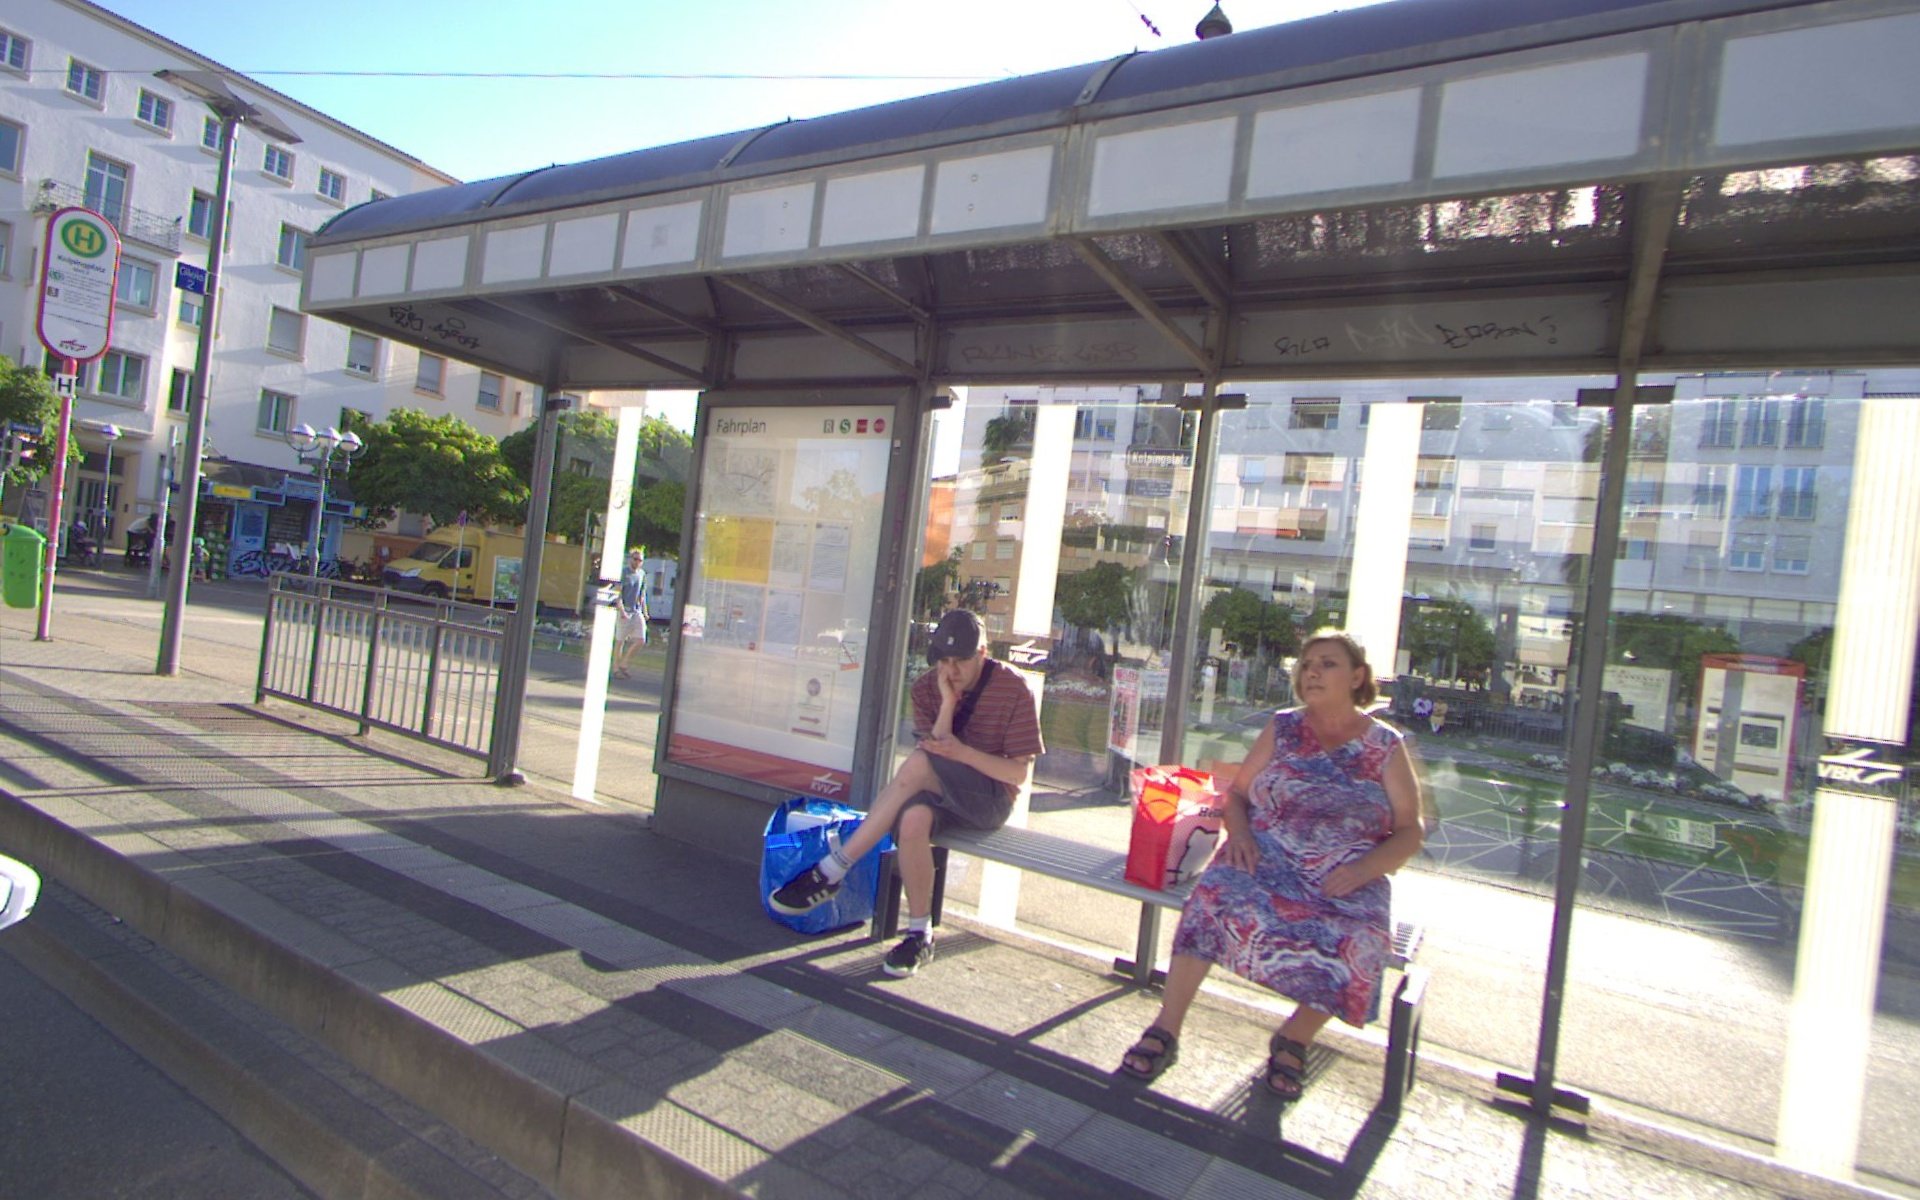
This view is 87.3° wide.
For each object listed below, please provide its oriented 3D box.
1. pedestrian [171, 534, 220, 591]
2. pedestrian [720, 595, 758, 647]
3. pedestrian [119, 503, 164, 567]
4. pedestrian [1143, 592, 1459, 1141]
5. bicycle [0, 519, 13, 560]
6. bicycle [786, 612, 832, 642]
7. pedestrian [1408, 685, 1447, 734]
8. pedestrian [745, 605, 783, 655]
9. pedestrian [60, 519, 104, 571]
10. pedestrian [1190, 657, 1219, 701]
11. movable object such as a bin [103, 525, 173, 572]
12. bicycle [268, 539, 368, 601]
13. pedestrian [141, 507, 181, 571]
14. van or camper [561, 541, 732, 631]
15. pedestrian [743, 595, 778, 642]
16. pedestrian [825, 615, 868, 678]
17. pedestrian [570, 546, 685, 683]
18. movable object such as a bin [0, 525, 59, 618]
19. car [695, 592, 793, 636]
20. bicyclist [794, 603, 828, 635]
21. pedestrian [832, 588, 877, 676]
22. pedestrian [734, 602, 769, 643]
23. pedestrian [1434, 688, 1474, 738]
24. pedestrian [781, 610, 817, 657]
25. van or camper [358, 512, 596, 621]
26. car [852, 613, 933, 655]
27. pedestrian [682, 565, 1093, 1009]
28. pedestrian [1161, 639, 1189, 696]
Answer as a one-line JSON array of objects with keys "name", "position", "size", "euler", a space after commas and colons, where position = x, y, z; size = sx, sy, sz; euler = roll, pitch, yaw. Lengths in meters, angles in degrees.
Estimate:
[{"name": "pedestrian", "position": [-21.364, -1.038, 28.121], "size": [0.742, 1.427, 0.731], "euler": [10, 1, 31]}, {"name": "pedestrian", "position": [-7.695, 0.745, 35.048], "size": [0.684, 1.705, 0.902], "euler": [6, 0, 35]}, {"name": "pedestrian", "position": [-25.736, -2.042, 31.633], "size": [0.667, 1.861, 0.785], "euler": [7, 0, 35]}, {"name": "pedestrian", "position": [1.086, 0.729, 3.095], "size": [0.613, 1.348, 0.861], "euler": [6, -4, 31]}, {"name": "bicycle", "position": [-27.927, -1.813, 28.453], "size": [0.296, 1.133, 1.565], "euler": [6, -2, 42]}, {"name": "bicycle", "position": [-6.645, 1.202, 44.491], "size": [0.708, 1.073, 2.323], "euler": [7, -3, 27]}, {"name": "pedestrian", "position": [13.412, 3.138, 28.890], "size": [0.718, 1.287, 0.745], "euler": [7, 0, 11]}, {"name": "pedestrian", "position": [-6.656, 1.028, 34.208], "size": [0.651, 1.604, 0.902], "euler": [6, 0, 35]}, {"name": "pedestrian", "position": [-24.237, -1.522, 27.771], "size": [0.736, 1.332, 0.622], "euler": [7, 0, -35]}, {"name": "pedestrian", "position": [7.880, 2.533, 32.464], "size": [0.718, 1.287, 1.042], "euler": [7, -1, 11]}, {"name": "movable object such as a bin", "position": [-24.372, -1.511, 29.822], "size": [1.197, 1.167, 1.200], "euler": [6, -1, 32]}, {"name": "bicycle", "position": [-19.756, -0.897, 31.036], "size": [0.714, 1.548, 2.391], "euler": [7, -3, 30]}, {"name": "pedestrian", "position": [-24.721, -1.896, 31.124], "size": [0.649, 1.861, 0.653], "euler": [7, 0, 35]}, {"name": "van or camper", "position": [-12.740, -0.488, 41.400], "size": [2.340, 2.873, 6.410], "euler": [6, -1, 35]}, {"name": "pedestrian", "position": [-7.241, 0.677, 36.503], "size": [0.651, 1.604, 0.902], "euler": [6, 0, 35]}, {"name": "pedestrian", "position": [-2.286, 0.934, 20.253], "size": [0.550, 1.182, 0.469], "euler": [5, -2, 40]}, {"name": "pedestrian", "position": [-4.990, 0.226, 15.120], "size": [1.110, 1.900, 0.983], "euler": [5, -1, 29]}, {"name": "movable object such as a bin", "position": [-8.637, -0.271, 9.189], "size": [0.481, 0.795, 0.449], "euler": [6, -1, 34]}, {"name": "car", "position": [-10.143, 0.676, 47.412], "size": [1.974, 1.529, 3.982], "euler": [5, -3, 43]}, {"name": "bicyclist", "position": [-6.584, 0.826, 44.463], "size": [0.937, 1.239, 0.933], "euler": [7, -2, 28]}, {"name": "pedestrian", "position": [-2.213, 0.670, 21.133], "size": [0.520, 1.765, 0.557], "euler": [6, -2, 42]}, {"name": "pedestrian", "position": [-7.163, 0.772, 34.564], "size": [0.595, 1.295, 0.902], "euler": [7, 0, 34]}, {"name": "pedestrian", "position": [14.113, 3.227, 28.761], "size": [0.718, 1.287, 0.745], "euler": [7, 0, 11]}, {"name": "pedestrian", "position": [-5.790, 1.207, 36.218], "size": [0.651, 1.604, 0.902], "euler": [6, 0, 35]}, {"name": "van or camper", "position": [-16.628, -1.045, 35.233], "size": [2.331, 2.780, 7.132], "euler": [8, 0, 32]}, {"name": "car", "position": [-2.999, 1.580, 45.529], "size": [1.964, 1.503, 4.000], "euler": [7, -1, 23]}, {"name": "pedestrian", "position": [-0.215, 0.598, 3.597], "size": [0.908, 1.238, 1.001], "euler": [6, -4, 31]}, {"name": "pedestrian", "position": [6.945, 2.157, 32.476], "size": [0.661, 1.745, 1.028], "euler": [7, 0, 11]}]
